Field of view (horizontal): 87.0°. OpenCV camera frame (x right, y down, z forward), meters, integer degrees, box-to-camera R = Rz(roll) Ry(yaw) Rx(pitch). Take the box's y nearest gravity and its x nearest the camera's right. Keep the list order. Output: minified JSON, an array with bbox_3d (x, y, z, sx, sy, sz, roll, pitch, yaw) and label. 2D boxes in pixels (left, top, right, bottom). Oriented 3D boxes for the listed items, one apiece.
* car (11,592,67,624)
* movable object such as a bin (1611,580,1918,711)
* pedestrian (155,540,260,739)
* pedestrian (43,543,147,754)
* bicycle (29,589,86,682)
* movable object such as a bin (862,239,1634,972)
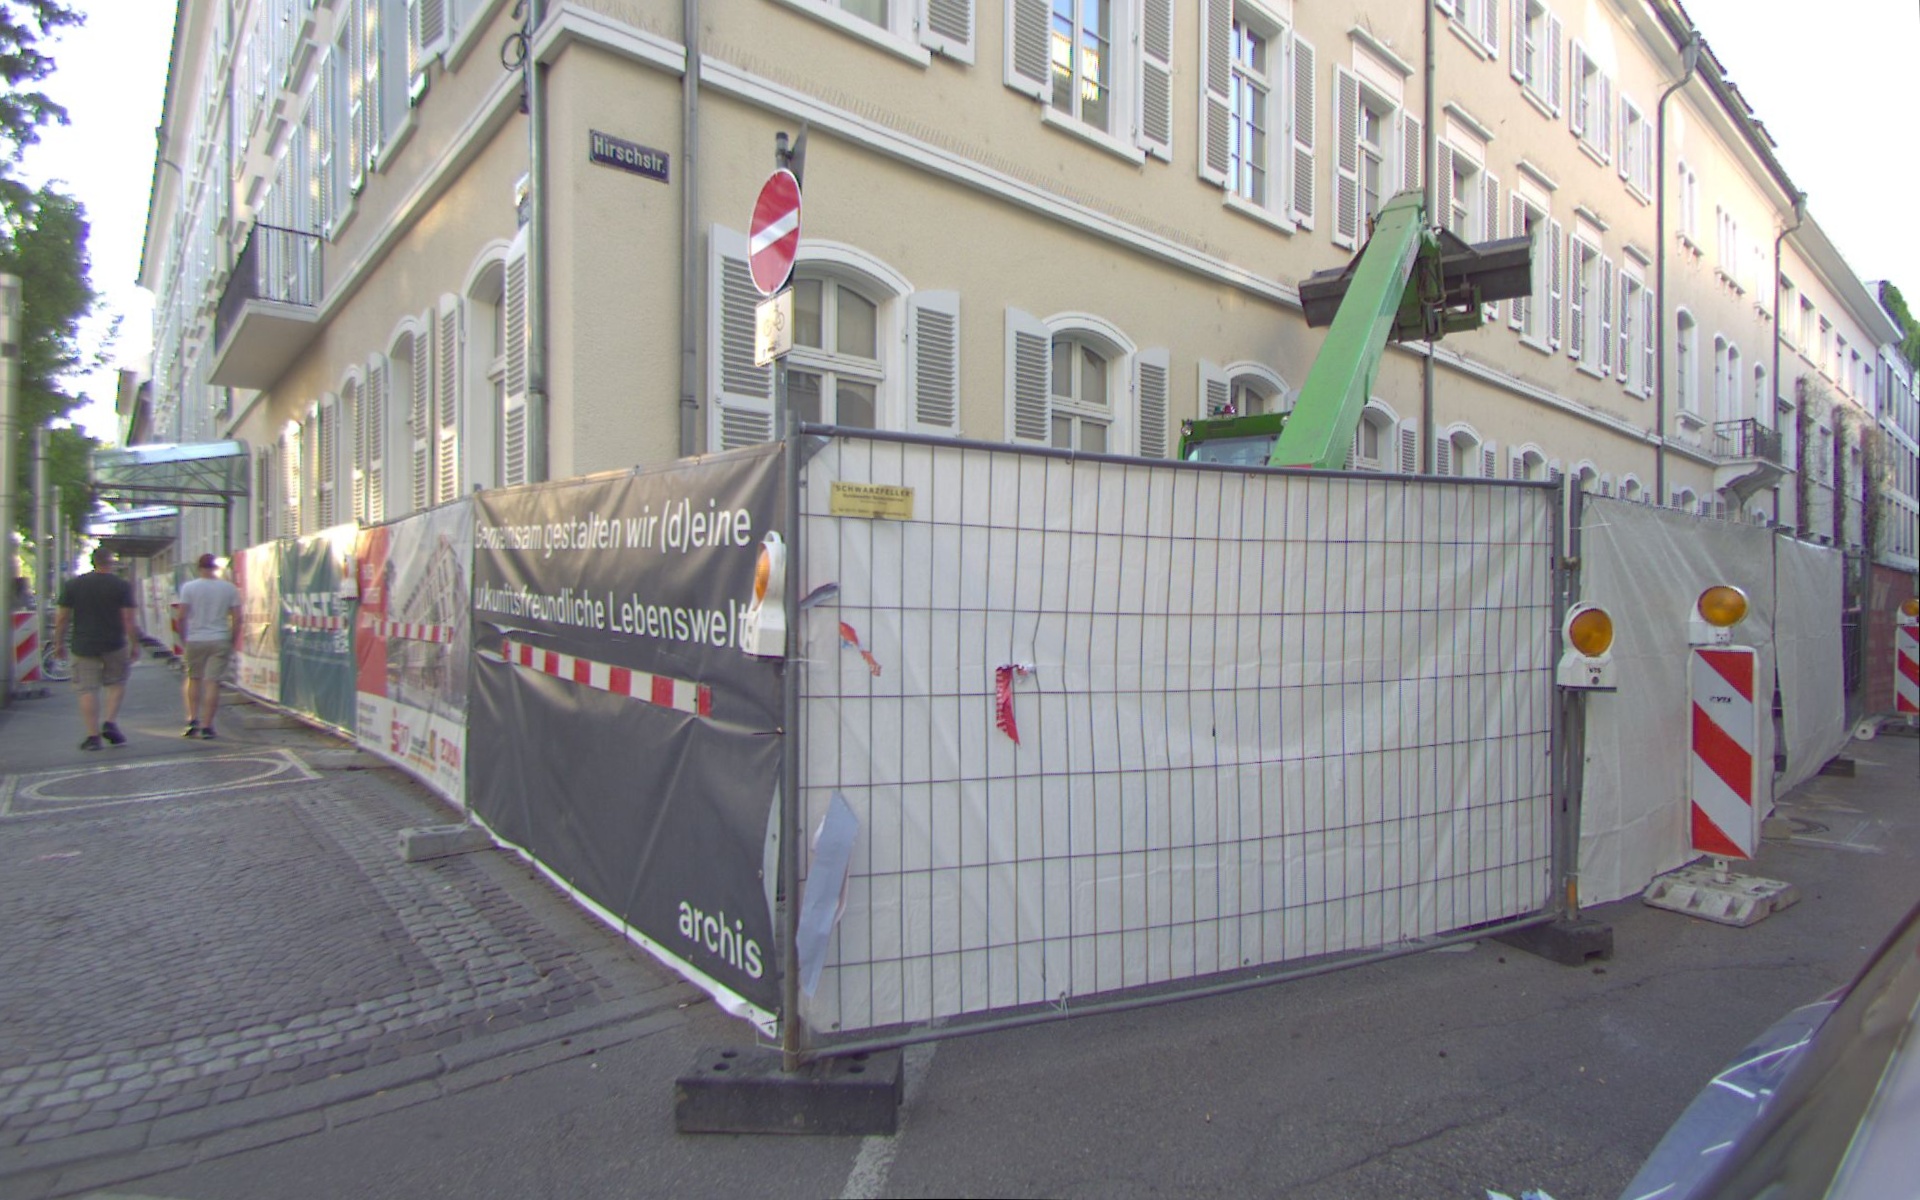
[{"bbox_3d":[-45.647,0.387,50.225,1.965,1.522,4.098,0,0,-41],"label":"car"},{"bbox_3d":[13.349,0.600,16.529,7.170,1.686,2.894,1,0,-43],"label":"movable object such as a bin"},{"bbox_3d":[-7.663,0.363,10.302,0.746,1.908,0.879,-3,2,-40],"label":"pedestrian"},{"bbox_3d":[-8.236,0.426,9.657,0.668,1.908,0.768,-3,2,-40],"label":"pedestrian"},{"bbox_3d":[-16.319,0.608,18.330,0.692,1.570,2.180,-2,1,-41],"label":"bicycle"},{"bbox_3d":[2.311,0.009,6.877,5.472,2.909,2.638,0,0,-44],"label":"movable object such as a bin"}]
